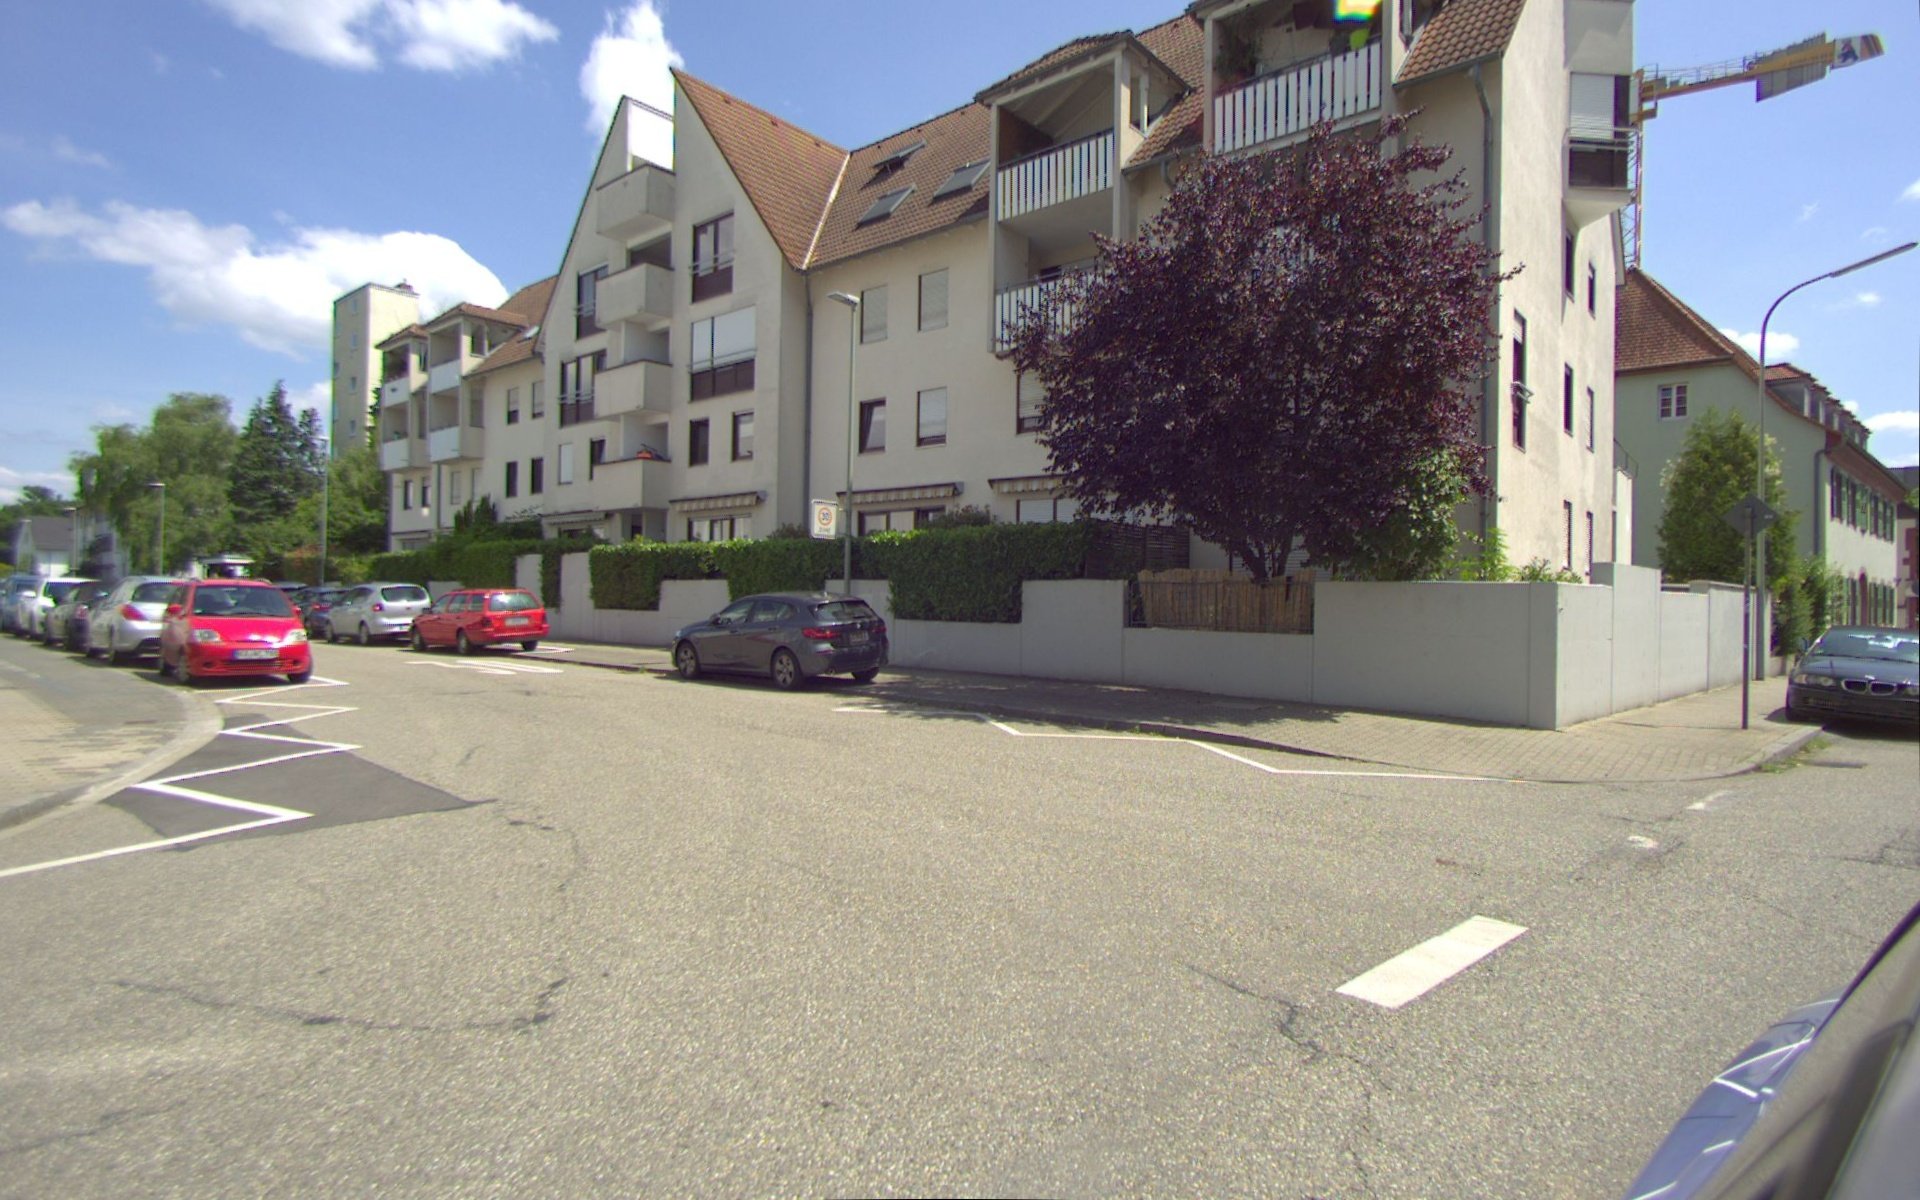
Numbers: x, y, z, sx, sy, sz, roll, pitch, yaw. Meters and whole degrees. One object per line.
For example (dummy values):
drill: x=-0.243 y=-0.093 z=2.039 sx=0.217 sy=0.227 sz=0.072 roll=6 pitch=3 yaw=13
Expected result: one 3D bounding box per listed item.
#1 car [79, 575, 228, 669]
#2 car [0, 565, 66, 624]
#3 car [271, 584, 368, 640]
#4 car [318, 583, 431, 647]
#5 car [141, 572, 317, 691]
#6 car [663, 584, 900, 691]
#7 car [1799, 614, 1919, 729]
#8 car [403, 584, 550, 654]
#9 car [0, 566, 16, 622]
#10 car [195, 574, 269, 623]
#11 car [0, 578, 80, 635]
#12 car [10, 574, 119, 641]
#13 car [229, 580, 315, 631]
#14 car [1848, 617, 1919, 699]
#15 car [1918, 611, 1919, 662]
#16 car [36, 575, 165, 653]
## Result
car: x=-14.183 y=0.337 z=17.733 sx=3.773 sy=1.485 sz=1.512 roll=0 pitch=0 yaw=43
car: x=-29.679 y=-0.159 z=31.829 sx=3.986 sy=1.777 sz=1.969 roll=0 pitch=-1 yaw=43
car: x=-19.231 y=0.322 z=30.351 sx=3.771 sy=1.577 sz=1.512 roll=0 pitch=0 yaw=42
car: x=-15.486 y=0.354 z=26.704 sx=3.771 sy=1.577 sz=1.512 roll=0 pitch=0 yaw=42
car: x=-10.956 y=0.402 z=15.093 sx=3.507 sy=1.561 sz=1.570 roll=1 pitch=0 yaw=45
car: x=-2.985 y=0.515 z=16.469 sx=3.984 sy=1.487 sz=1.712 roll=2 pitch=1 yaw=42
car: x=13.177 y=0.915 z=14.302 sx=4.170 sy=1.393 sz=1.657 roll=1 pitch=0 yaw=-45
car: x=-11.144 y=0.396 z=23.238 sx=3.768 sy=1.485 sz=1.630 roll=0 pitch=0 yaw=40
car: x=-37.744 y=-0.202 z=38.904 sx=3.987 sy=2.040 sz=1.968 roll=-2 pitch=-2 yaw=45
car: x=-26.887 y=-0.057 z=37.353 sx=3.412 sy=1.697 sz=1.646 roll=0 pitch=0 yaw=44
car: x=-25.743 y=0.171 z=28.081 sx=3.570 sy=1.485 sz=1.628 roll=0 pitch=0 yaw=43
car: x=-21.444 y=0.156 z=24.199 sx=3.570 sy=1.485 sz=1.628 roll=0 pitch=0 yaw=43
car: x=-22.774 y=0.170 z=33.441 sx=3.771 sy=1.577 sz=1.512 roll=0 pitch=0 yaw=42
car: x=17.939 y=1.045 z=18.901 sx=3.757 sy=1.370 sz=1.587 roll=1 pitch=2 yaw=-42
car: x=31.039 y=1.139 z=31.171 sx=3.929 sy=1.534 sz=1.850 roll=1 pitch=0 yaw=-41
car: x=-17.940 y=0.254 z=21.072 sx=3.773 sy=1.485 sz=1.628 roll=0 pitch=0 yaw=43
